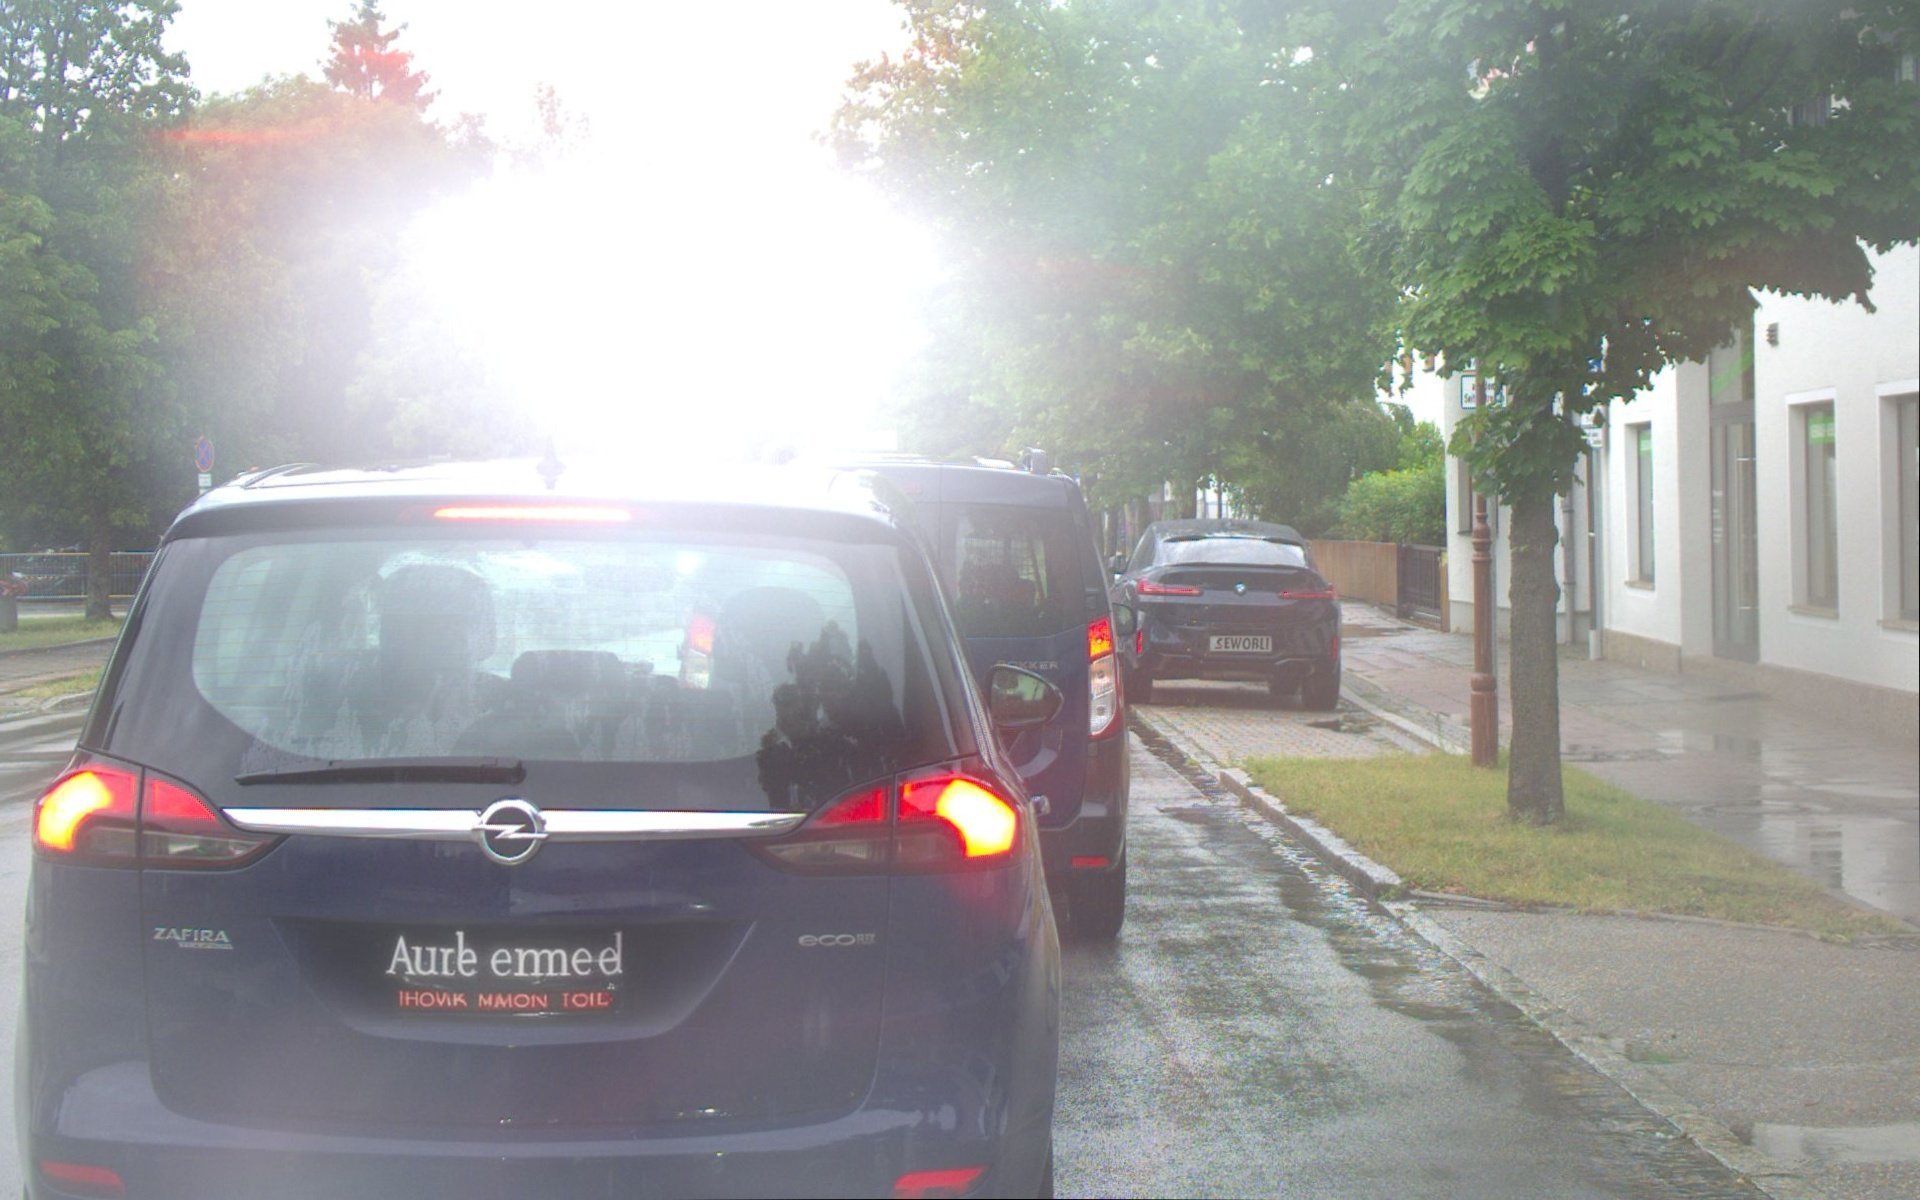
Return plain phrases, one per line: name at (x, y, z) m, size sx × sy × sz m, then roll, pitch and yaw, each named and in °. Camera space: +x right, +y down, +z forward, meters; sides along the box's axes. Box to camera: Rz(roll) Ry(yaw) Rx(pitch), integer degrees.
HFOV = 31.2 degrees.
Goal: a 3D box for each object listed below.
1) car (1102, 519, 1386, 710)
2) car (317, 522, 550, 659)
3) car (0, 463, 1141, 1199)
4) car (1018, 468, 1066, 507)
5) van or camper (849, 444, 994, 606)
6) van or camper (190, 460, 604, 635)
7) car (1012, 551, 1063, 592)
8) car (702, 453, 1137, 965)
car at (2.469, 0.092, 30.876) m, size 2.117 × 1.575 × 3.936 m, roll 1°, pitch 1°, yaw -1°
car at (-5.882, -0.145, 38.818) m, size 1.996 × 1.402 × 3.884 m, roll -2°, pitch 1°, yaw 0°
car at (-0.636, 0.560, 7.080) m, size 1.768 × 1.599 × 3.663 m, roll 1°, pitch 1°, yaw -1°
car at (3.078, -4.210, 129.085) m, size 1.630 × 1.373 × 3.623 m, roll -2°, pitch 1°, yaw -1°
van or camper at (-0.667, -1.312, 59.858) m, size 2.360 × 2.656 × 5.372 m, roll -1°, pitch 1°, yaw -1°
van or camper at (-9.037, -0.829, 55.165) m, size 6.253 × 2.698 × 2.099 m, roll 0°, pitch 1°, yaw 18°
car at (2.680, -0.998, 119.721) m, size 1.630 × 1.373 × 3.623 m, roll 0°, pitch 1°, yaw -1°
car at (-0.158, 0.349, 13.549) m, size 1.500 × 1.770 × 3.112 m, roll 1°, pitch 1°, yaw -1°
